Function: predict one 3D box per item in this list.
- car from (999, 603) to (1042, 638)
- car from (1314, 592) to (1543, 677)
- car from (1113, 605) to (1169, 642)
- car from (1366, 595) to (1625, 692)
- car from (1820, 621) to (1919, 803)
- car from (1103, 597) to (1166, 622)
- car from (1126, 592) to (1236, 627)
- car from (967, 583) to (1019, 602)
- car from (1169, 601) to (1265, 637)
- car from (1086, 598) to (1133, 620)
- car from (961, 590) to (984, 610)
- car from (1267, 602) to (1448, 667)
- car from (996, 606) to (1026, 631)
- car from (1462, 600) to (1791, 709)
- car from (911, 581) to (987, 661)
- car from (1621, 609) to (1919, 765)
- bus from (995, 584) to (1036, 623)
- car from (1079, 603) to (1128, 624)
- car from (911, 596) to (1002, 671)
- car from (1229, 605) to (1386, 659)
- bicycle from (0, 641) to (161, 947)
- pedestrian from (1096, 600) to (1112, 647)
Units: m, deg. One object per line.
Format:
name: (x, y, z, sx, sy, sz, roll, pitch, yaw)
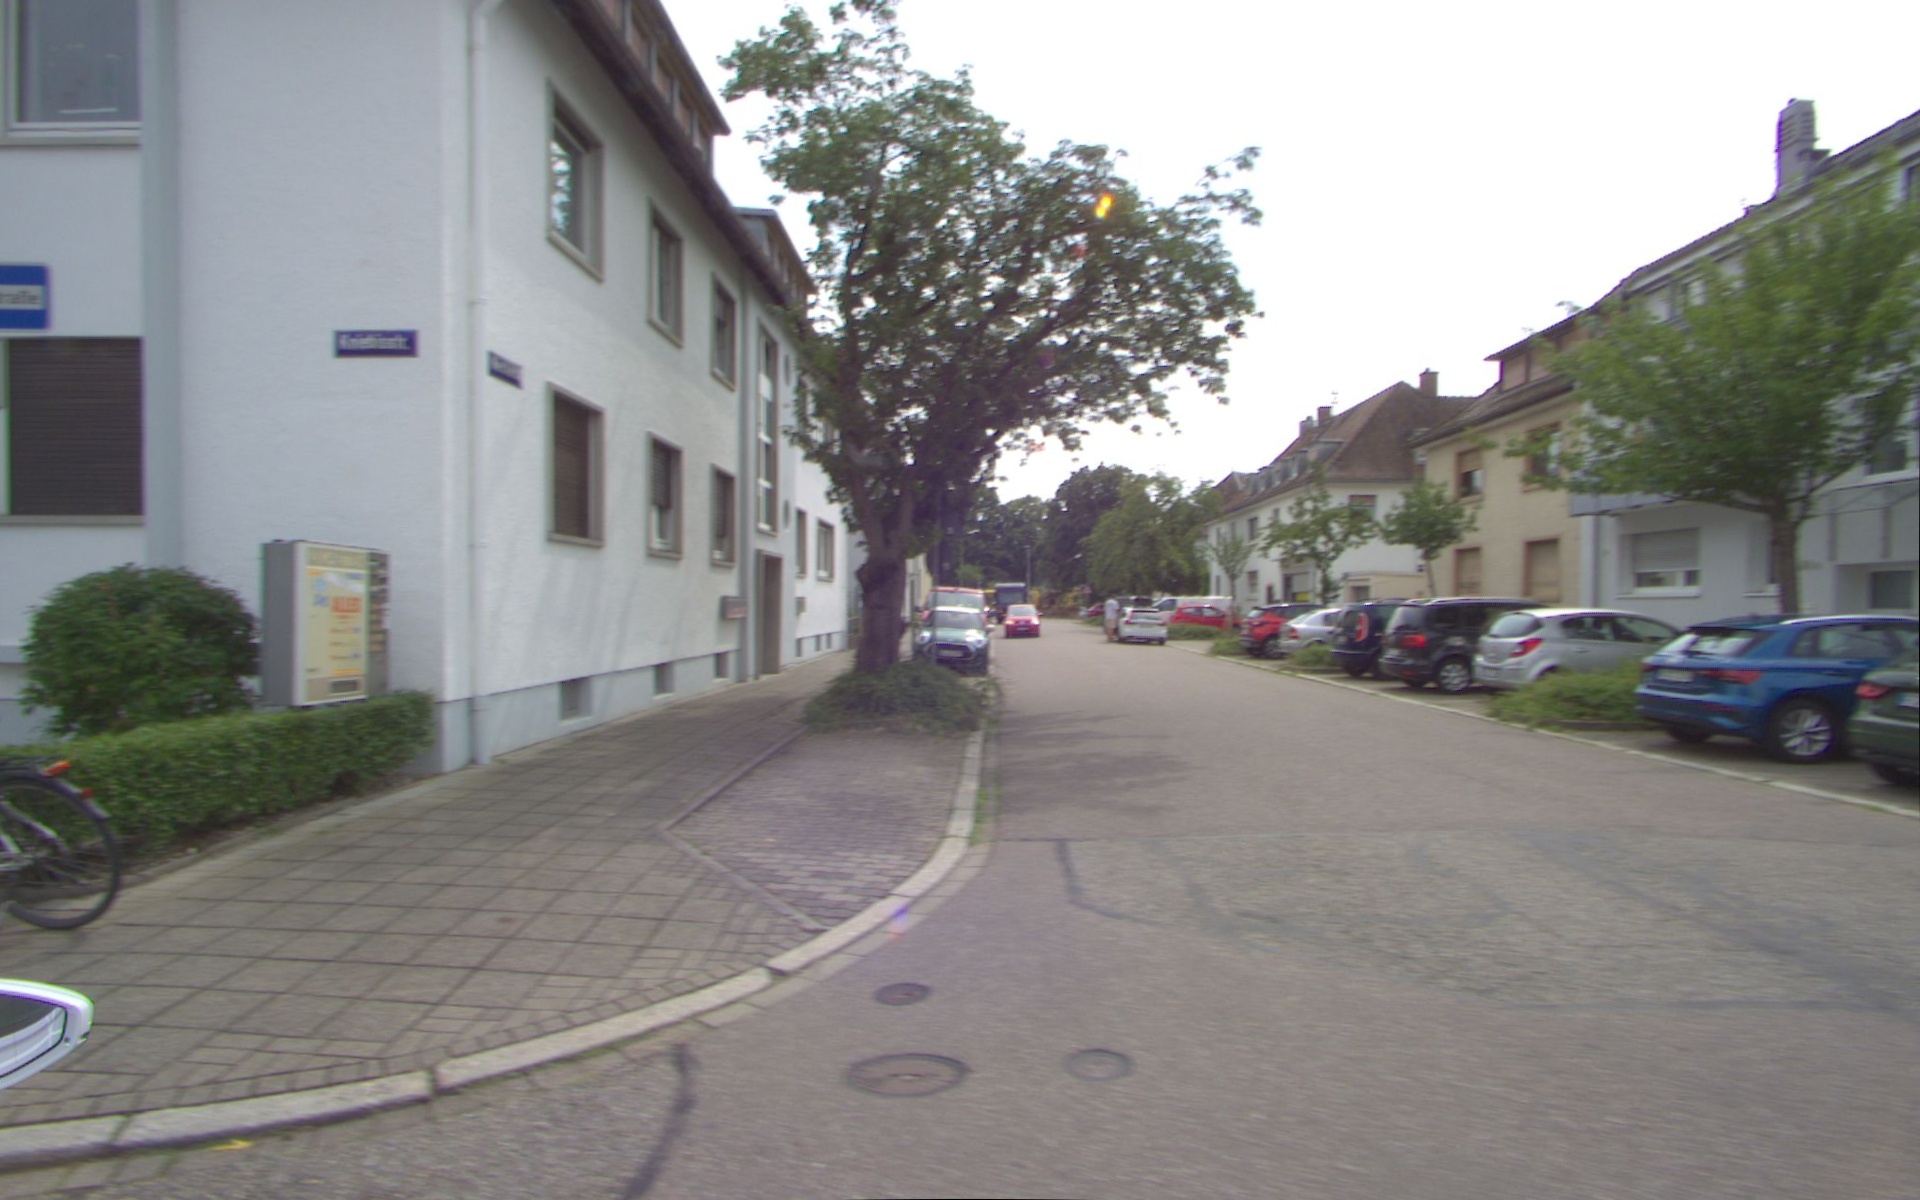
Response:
car: (2.761, 0.901, 46.369, 1.834, 1.505, 4.000, -1, 0, 1)
car: (9.714, 0.706, 21.020, 3.922, 1.639, 1.867, -1, 0, 3)
car: (7.138, 0.909, 39.801, 1.660, 1.372, 3.826, -1, 0, 3)
car: (9.481, 0.747, 17.963, 3.686, 1.585, 1.773, -1, 0, 3)
car: (9.293, 0.854, 7.744, 3.686, 1.384, 1.773, -1, 0, 3)
car: (10.331, 0.566, 59.460, 3.472, 1.444, 1.598, -1, 0, 3)
car: (10.549, 0.463, 48.070, 4.894, 1.538, 1.768, -1, 0, 0)
car: (2.768, -0.624, 84.233, 3.932, 1.562, 1.864, -1, 0, 22)
car: (11.649, 0.856, 45.495, 3.922, 1.538, 1.722, -1, 0, 2)
car: (11.613, 0.727, 77.836, 3.472, 1.623, 1.773, -1, 0, 3)
car: (0.921, 0.022, 74.088, 1.567, 1.444, 3.541, -1, 0, 2)
car: (10.103, 0.858, 25.651, 3.922, 1.538, 1.722, -1, 0, 2)
car: (2.993, 1.084, 59.623, 1.624, 1.395, 3.721, -1, 0, 1)
car: (10.177, 0.806, 15.517, 3.922, 1.538, 1.722, -1, 0, 2)
car: (-0.246, 0.555, 28.340, 1.961, 2.040, 4.520, 1, 0, 1)
car: (9.094, 0.846, 10.343, 3.460, 1.431, 1.558, -1, 0, 2)
bus: (4.392, 0.254, 77.777, 2.955, 2.797, 8.923, -1, 0, 4)
car: (10.758, 1.006, 75.230, 3.472, 1.444, 1.598, -1, 0, 3)
car: (0.002, 0.715, 22.988, 1.735, 1.574, 3.730, -1, 0, 5)
car: (9.989, 0.905, 28.985, 3.922, 1.458, 1.722, -1, 0, 2)
bicycle: (-4.334, 0.792, 4.164, 1.607, 1.195, 0.435, -1, 1, -2)
pedestrian: (5.404, 0.873, 37.582, 0.513, 1.727, 0.444, -1, 1, 5)
